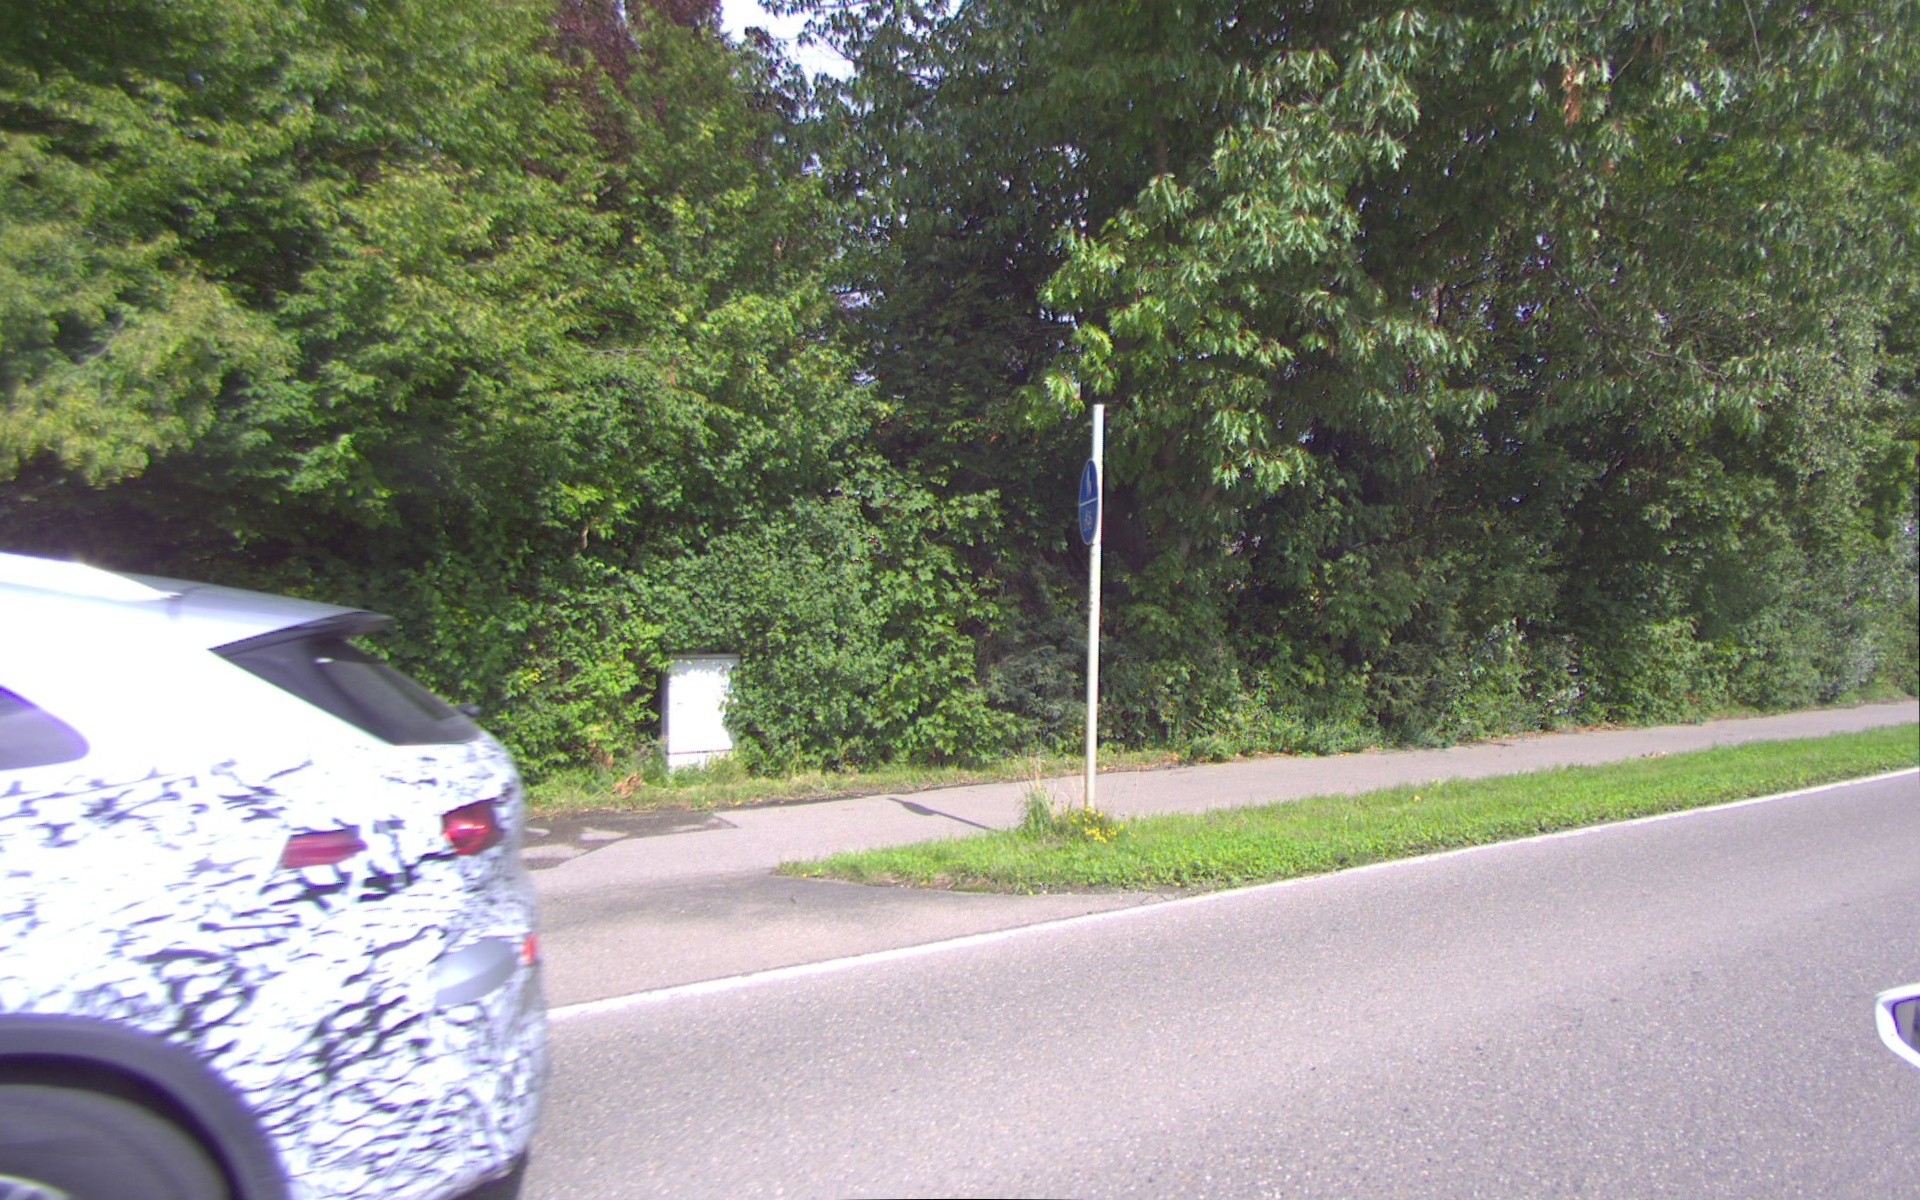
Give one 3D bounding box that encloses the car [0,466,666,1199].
[{"bbox_3d":[-2.854,0.645,1.689,4.241,1.672,1.803,1,-2,-30],"label":"car"}]
